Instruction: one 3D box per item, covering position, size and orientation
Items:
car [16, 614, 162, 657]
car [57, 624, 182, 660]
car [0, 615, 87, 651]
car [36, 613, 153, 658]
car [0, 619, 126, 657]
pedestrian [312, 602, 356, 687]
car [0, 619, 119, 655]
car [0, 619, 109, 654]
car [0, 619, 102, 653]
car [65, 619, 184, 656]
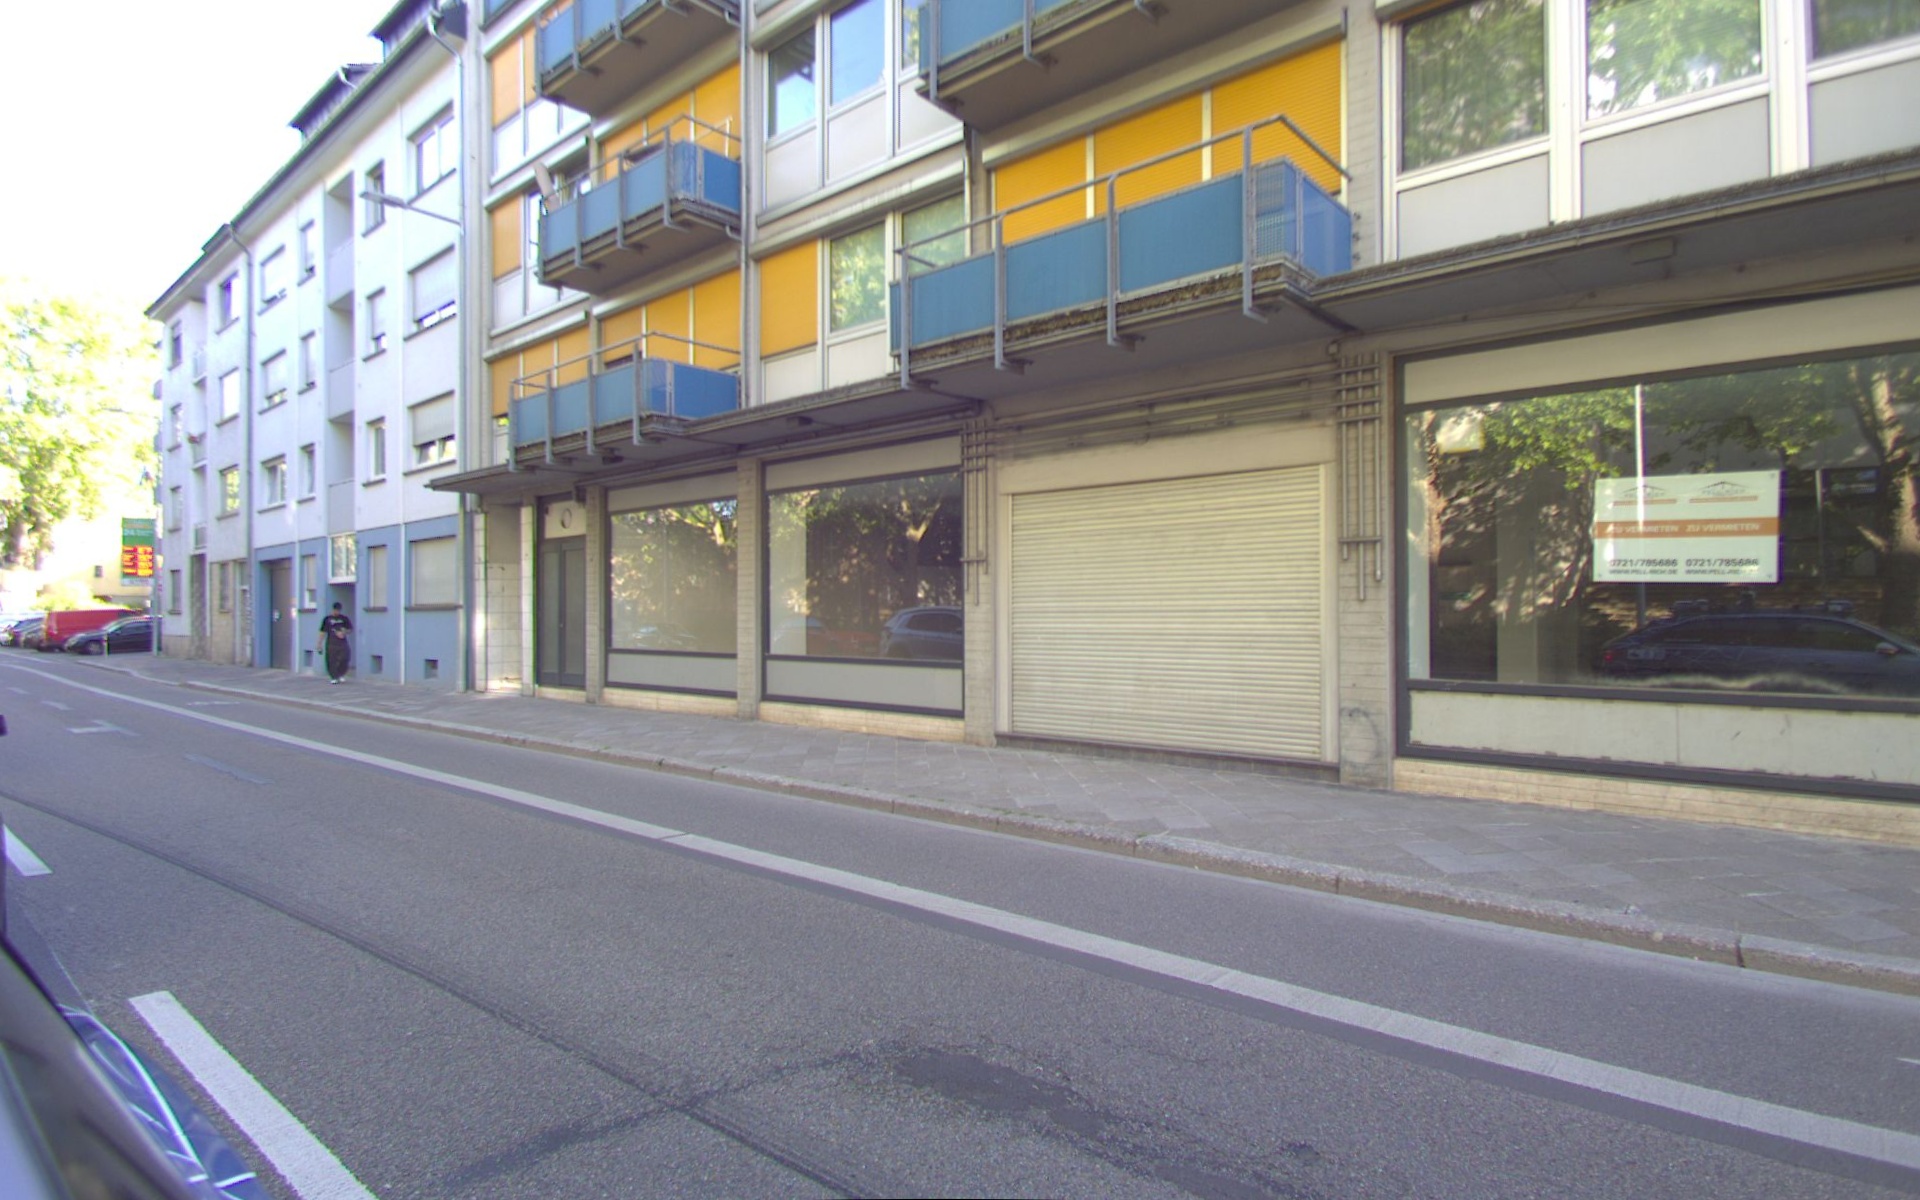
[{"bbox_3d":[-42.696,1.699,49.718,2.256,1.995,5.156,-1,-1,41],"label":"car"},{"bbox_3d":[-36.557,1.786,44.081,1.742,1.431,3.946,-1,-1,41],"label":"car"},{"bbox_3d":[-59.349,2.095,64.717,2.186,2.164,5.077,-1,-1,41],"label":"car"},{"bbox_3d":[-40.595,1.632,47.520,1.866,1.952,3.946,-1,-1,41],"label":"car"},{"bbox_3d":[-50.303,2.084,56.834,2.186,1.952,5.077,-1,-1,41],"label":"car"},{"bbox_3d":[-13.566,0.952,21.923,0.654,1.785,0.794,-1,-1,-43],"label":"pedestrian"},{"bbox_3d":[-52.242,2.107,58.722,2.159,1.952,4.990,-1,-1,41],"label":"car"},{"bbox_3d":[-54.128,2.128,60.359,2.082,1.952,4.928,-1,-1,41],"label":"car"},{"bbox_3d":[-55.975,2.156,61.990,2.314,1.952,4.978,-1,-1,41],"label":"car"},{"bbox_3d":[-37.882,1.676,45.947,1.742,1.572,3.946,-1,-1,41],"label":"car"}]
